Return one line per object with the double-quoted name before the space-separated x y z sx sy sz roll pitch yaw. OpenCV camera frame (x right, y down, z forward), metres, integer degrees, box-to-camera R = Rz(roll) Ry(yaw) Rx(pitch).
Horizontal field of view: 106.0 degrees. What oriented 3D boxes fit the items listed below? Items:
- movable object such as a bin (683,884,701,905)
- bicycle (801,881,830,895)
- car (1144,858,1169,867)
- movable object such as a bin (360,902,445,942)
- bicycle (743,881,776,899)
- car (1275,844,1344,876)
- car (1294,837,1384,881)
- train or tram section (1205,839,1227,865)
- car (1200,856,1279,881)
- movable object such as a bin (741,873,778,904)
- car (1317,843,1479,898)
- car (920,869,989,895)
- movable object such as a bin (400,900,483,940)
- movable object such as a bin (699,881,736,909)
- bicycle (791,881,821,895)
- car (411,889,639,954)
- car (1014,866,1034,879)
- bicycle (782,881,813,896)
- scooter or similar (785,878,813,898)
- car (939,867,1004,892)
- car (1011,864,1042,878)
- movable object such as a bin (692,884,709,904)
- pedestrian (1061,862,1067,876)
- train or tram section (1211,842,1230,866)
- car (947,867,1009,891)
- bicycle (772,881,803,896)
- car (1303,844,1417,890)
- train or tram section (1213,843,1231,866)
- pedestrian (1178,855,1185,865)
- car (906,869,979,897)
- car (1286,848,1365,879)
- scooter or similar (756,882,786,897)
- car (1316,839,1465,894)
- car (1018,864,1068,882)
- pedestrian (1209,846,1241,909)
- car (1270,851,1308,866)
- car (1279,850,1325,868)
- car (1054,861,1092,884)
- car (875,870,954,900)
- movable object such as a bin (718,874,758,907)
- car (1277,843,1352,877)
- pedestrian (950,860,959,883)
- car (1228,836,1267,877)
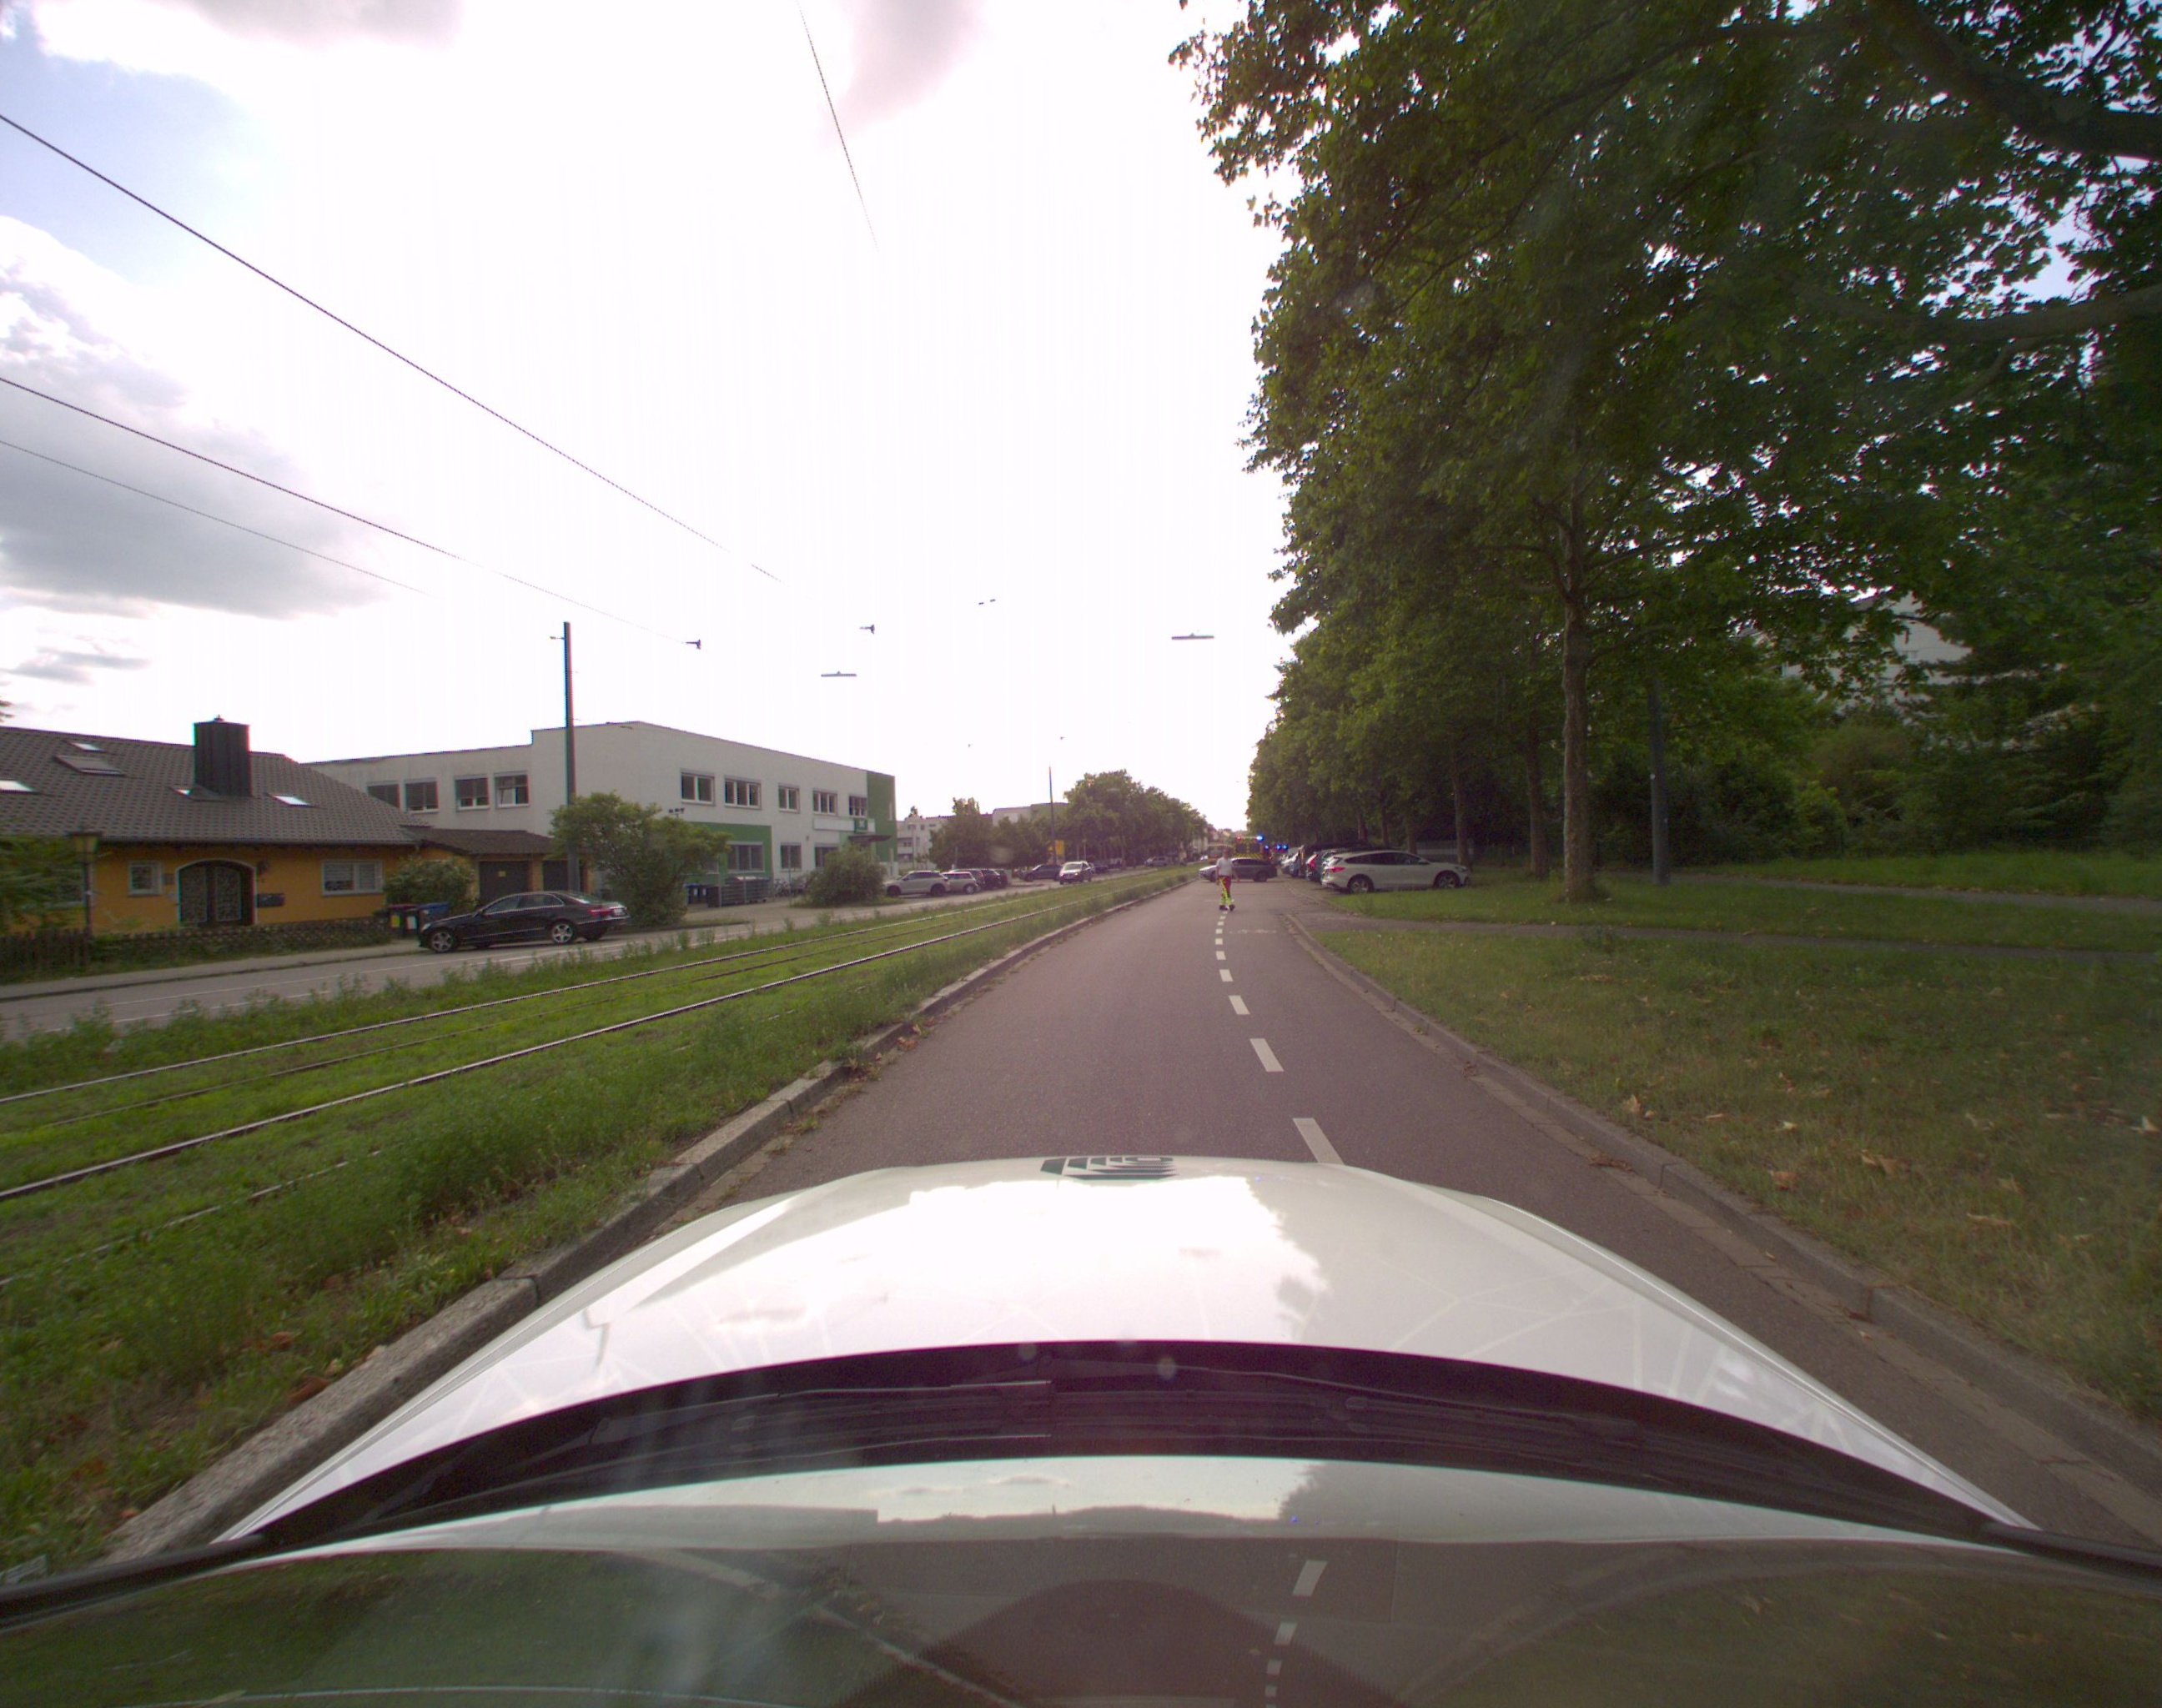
"movable object such as a bin" -20.226 2.119 42.359 0.564 1.042 0.566 -1 0 13
"bicycle" -17.309 2.189 53.057 1.845 0.899 0.460 -1 -1 12
"car" 15.014 1.721 161.080 4.638 1.633 1.867 -2 -1 -27
"movable object such as a bin" -21.698 2.165 26.071 1.246 1.092 1.623 -3 -1 11
"bicycle" -18.591 2.086 47.051 1.845 0.986 0.460 -1 -1 12
"car" 16.536 0.420 59.016 4.519 2.043 1.860 -4 -1 8
"car" 14.332 0.300 45.525 4.515 2.123 1.862 -4 -1 11
"train or tram section" 19.651 -0.236 118.418 2.495 3.584 7.469 -4 -2 12
"car" 9.474 0.861 48.894 4.437 1.385 1.767 -1 0 1
"movable object such as a bin" -16.860 1.808 42.730 0.998 1.519 1.611 -1 0 15
"car" 10.318 0.539 26.862 4.631 1.473 1.852 -4 -1 8
"car" -8.389 1.840 53.824 4.232 1.482 1.872 -3 -1 -17
"movable object such as a bin" -20.259 2.091 25.844 1.246 1.101 1.623 -3 -1 11
"movable object such as a bin" -17.657 1.987 39.584 0.998 1.234 1.261 -1 0 15
"bicycle" -17.588 2.170 52.033 1.845 0.899 0.460 -1 -1 12
"car" -14.767 1.759 21.874 4.632 1.407 1.878 -3 -2 -8
"car" -8.692 2.819 124.385 1.980 1.750 4.014 -1 0 12
"bicycle" -17.796 2.156 51.154 1.845 0.899 0.460 -1 -1 12
"scooter or similar" -16.774 2.008 48.388 1.290 1.156 1.101 -2 -2 41
"car" -7.647 1.755 56.826 4.232 1.482 1.872 -3 -1 -17
"car" -7.382 2.284 109.271 3.950 1.750 2.012 -1 0 44
"movable object such as a bin" -20.081 2.111 43.009 0.564 1.042 0.566 -1 0 13
"pedestrian" -2.134 1.868 102.733 0.463 1.677 0.605 -3 -1 11
"train or tram section" 22.811 0.008 133.005 2.495 3.584 7.469 -4 -2 12
"car" -7.559 1.815 59.889 4.232 1.482 1.872 -3 -1 -17
"bicycle" -18.024 2.137 50.028 1.845 0.899 0.460 -1 -1 12
"car" 11.648 0.532 34.261 4.349 1.639 1.763 -4 -1 14
"train or tram section" 24.394 0.130 140.258 2.495 3.584 7.469 -4 -2 12
"pedestrian" 14.222 0.852 114.944 0.875 1.525 0.753 -1 -1 12
"car" -8.702 1.804 51.061 4.232 1.482 1.872 -3 -1 -17
"car" 15.553 0.628 51.906 4.520 1.660 1.860 -3 -1 8
"scooter or similar" -18.484 2.107 48.561 1.723 0.899 0.460 -1 -1 12
"car" 10.916 0.447 29.024 4.631 1.626 1.852 -4 -1 8
"car" -3.476 1.716 73.907 4.225 1.482 1.875 -1 -1 -13
"pedestrian" 3.984 0.640 22.505 0.798 1.686 0.853 -2 -1 9
"car" 27.107 0.594 106.289 4.519 1.608 1.860 -4 -1 8
"car" 23.938 0.547 88.407 4.519 1.608 1.860 -4 -1 8
"car" -0.568 1.418 63.465 1.980 1.558 4.384 -4 -1 12
"car" -9.814 1.783 48.012 4.238 1.482 1.869 -3 -1 -22
"movable object such as a bin" -17.275 1.824 41.078 0.998 1.519 1.718 -1 0 15
"car" 15.587 0.416 54.527 4.519 2.001 1.860 -4 -1 8
"pedestrian" -9.911 1.374 63.822 0.542 1.828 0.510 -3 -1 10
"car" 12.725 0.184 61.920 2.622 2.966 6.323 0 0 14
